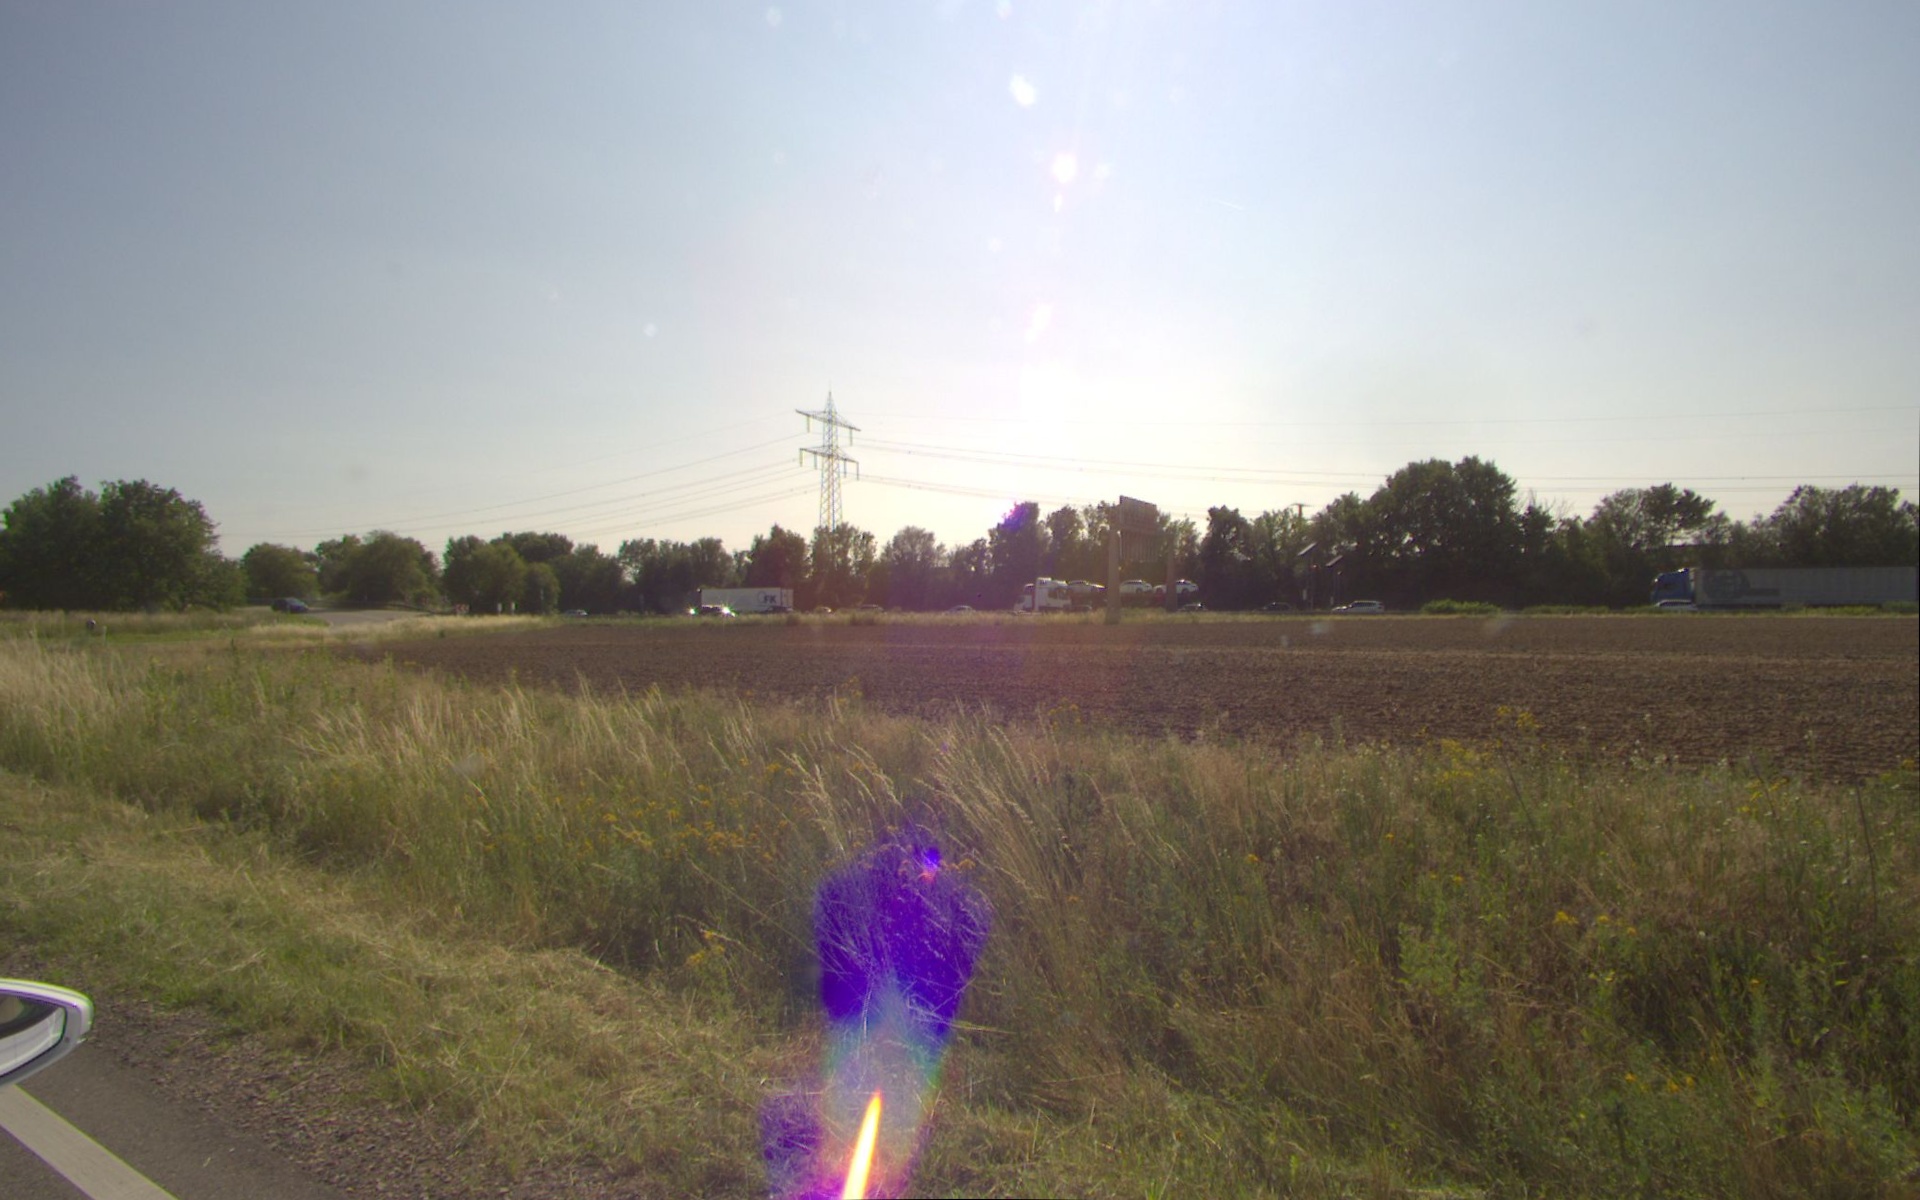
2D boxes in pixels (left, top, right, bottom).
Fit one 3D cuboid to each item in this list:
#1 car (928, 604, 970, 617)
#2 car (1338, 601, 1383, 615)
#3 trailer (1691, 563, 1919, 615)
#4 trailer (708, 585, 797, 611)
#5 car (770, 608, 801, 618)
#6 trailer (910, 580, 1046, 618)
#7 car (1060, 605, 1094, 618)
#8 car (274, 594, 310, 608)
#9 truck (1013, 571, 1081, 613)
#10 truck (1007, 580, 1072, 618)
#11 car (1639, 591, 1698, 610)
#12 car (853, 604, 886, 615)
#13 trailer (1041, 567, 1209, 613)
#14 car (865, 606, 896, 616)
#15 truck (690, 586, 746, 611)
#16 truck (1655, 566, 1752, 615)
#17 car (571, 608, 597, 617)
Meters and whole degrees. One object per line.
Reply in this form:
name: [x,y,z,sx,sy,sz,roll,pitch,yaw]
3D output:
car: [-1.164,1.118,107.365,4.184,1.403,1.848,0,-1,30]
car: [35.020,0.678,87.623,3.528,1.166,1.393,0,-1,31]
trailer: [65.419,-0.776,77.985,13.430,3.782,3.066,0,0,31]
trailer: [-27.222,-0.242,130.882,12.266,3.311,3.280,-1,1,29]
car: [-20.612,1.502,118.090,3.526,1.166,1.394,0,-1,28]
trailer: [1.559,-0.070,92.504,12.833,3.312,2.510,0,1,28]
car: [11.669,1.147,99.823,3.133,1.166,1.393,0,-1,30]
car: [-68.438,0.137,102.610,3.572,1.410,1.595,0,0,28]
truck: [9.465,-0.852,109.253,6.603,4.512,3.417,-1,1,28]
truck: [7.095,-0.100,89.551,5.274,3.312,2.510,0,1,28]
car: [54.032,0.011,76.427,3.548,1.403,1.490,0,-1,30]
car: [-10.158,1.043,112.404,3.526,1.166,1.394,0,-1,28]
trailer: [17.108,-0.946,105.168,17.293,4.512,3.417,-1,1,28]
car: [-9.571,1.283,120.337,3.526,1.166,1.394,0,-1,28]
truck: [-32.265,-0.182,133.693,6.873,3.311,3.280,-1,1,29]
truck: [60.148,-0.700,81.207,5.998,3.782,3.067,0,0,31]
car: [-51.400,1.682,136.870,3.526,1.166,1.394,0,-1,28]
